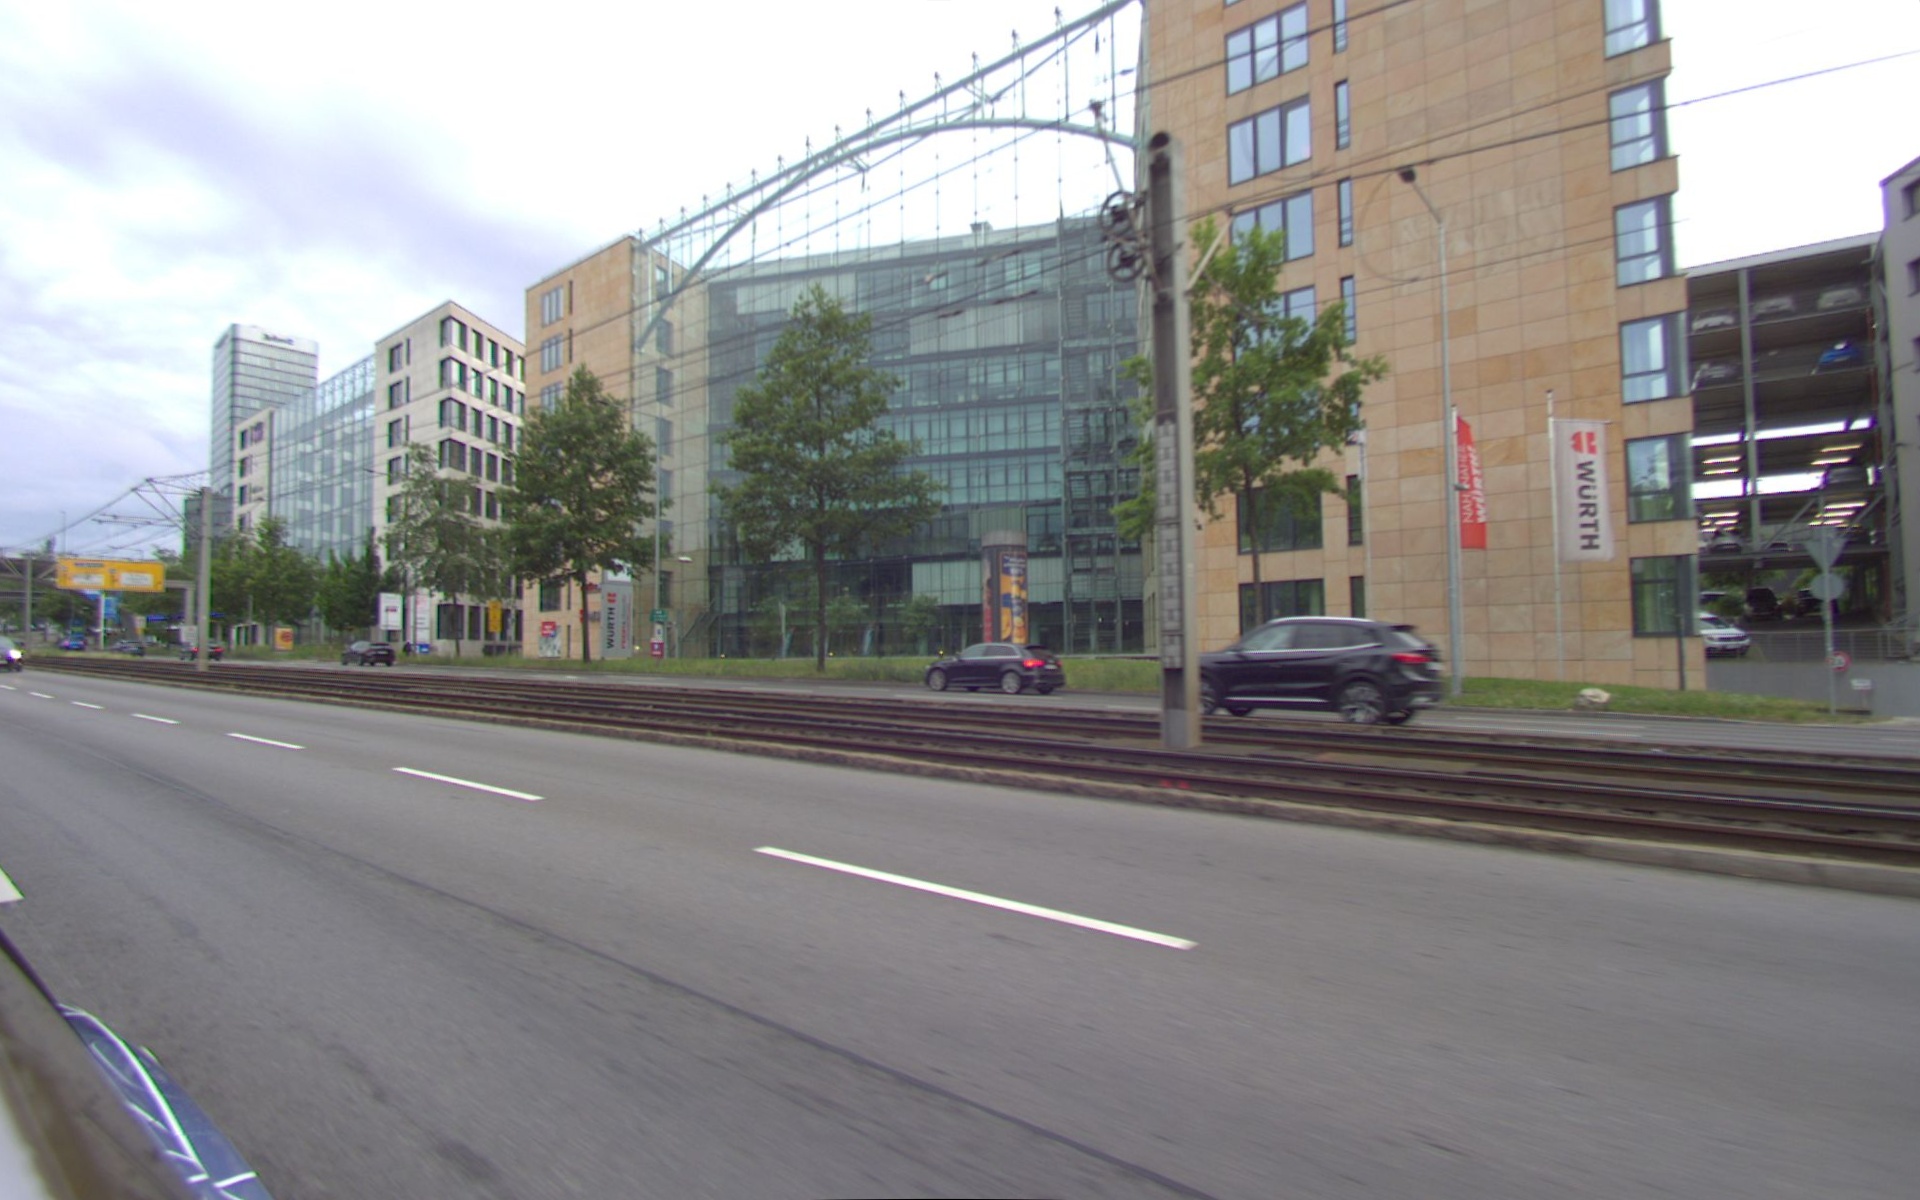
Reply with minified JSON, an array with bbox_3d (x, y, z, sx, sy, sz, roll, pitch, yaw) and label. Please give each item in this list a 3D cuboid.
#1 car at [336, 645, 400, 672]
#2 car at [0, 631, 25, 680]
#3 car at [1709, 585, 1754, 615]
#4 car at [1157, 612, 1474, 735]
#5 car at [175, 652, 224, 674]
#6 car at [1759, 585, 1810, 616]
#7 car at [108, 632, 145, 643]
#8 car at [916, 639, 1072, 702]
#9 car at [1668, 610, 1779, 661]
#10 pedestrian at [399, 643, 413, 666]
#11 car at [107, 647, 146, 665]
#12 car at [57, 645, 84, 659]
[{"bbox_3d":[-34.860,3.447,59.534,4.427,1.497,1.822,-3,-6,40],"label":"car"},{"bbox_3d":[-41.112,2.335,42.859,4.375,1.883,1.771,0,0,41],"label":"car"},{"bbox_3d":[47.605,-0.007,62.501,1.909,1.699,3.845,2,0,34],"label":"car"},{"bbox_3d":[5.479,1.025,15.922,4.382,1.628,1.787,0,0,40],"label":"car"},{"bbox_3d":[-55.354,4.569,73.626,4.650,1.497,1.822,-3,-6,41],"label":"car"},{"bbox_3d":[48.604,0.040,59.711,1.909,1.699,3.954,2,0,34],"label":"car"},{"bbox_3d":[-133.617,5.990,162.208,1.885,1.515,4.306,0,0,42],"label":"car"},{"bbox_3d":[0.886,1.885,28.040,4.235,1.473,1.650,0,0,40],"label":"car"},{"bbox_3d":[31.560,1.406,41.978,1.861,1.908,3.991,2,0,7],"label":"car"},{"bbox_3d":[-40.307,3.938,73.598,0.831,1.644,0.636,0,0,37],"label":"pedestrian"},{"bbox_3d":[-74.317,5.023,90.169,4.650,1.497,1.822,-3,-6,41],"label":"car"},{"bbox_3d":[-102.718,5.973,116.855,4.022,1.465,1.822,0,0,41],"label":"car"}]
